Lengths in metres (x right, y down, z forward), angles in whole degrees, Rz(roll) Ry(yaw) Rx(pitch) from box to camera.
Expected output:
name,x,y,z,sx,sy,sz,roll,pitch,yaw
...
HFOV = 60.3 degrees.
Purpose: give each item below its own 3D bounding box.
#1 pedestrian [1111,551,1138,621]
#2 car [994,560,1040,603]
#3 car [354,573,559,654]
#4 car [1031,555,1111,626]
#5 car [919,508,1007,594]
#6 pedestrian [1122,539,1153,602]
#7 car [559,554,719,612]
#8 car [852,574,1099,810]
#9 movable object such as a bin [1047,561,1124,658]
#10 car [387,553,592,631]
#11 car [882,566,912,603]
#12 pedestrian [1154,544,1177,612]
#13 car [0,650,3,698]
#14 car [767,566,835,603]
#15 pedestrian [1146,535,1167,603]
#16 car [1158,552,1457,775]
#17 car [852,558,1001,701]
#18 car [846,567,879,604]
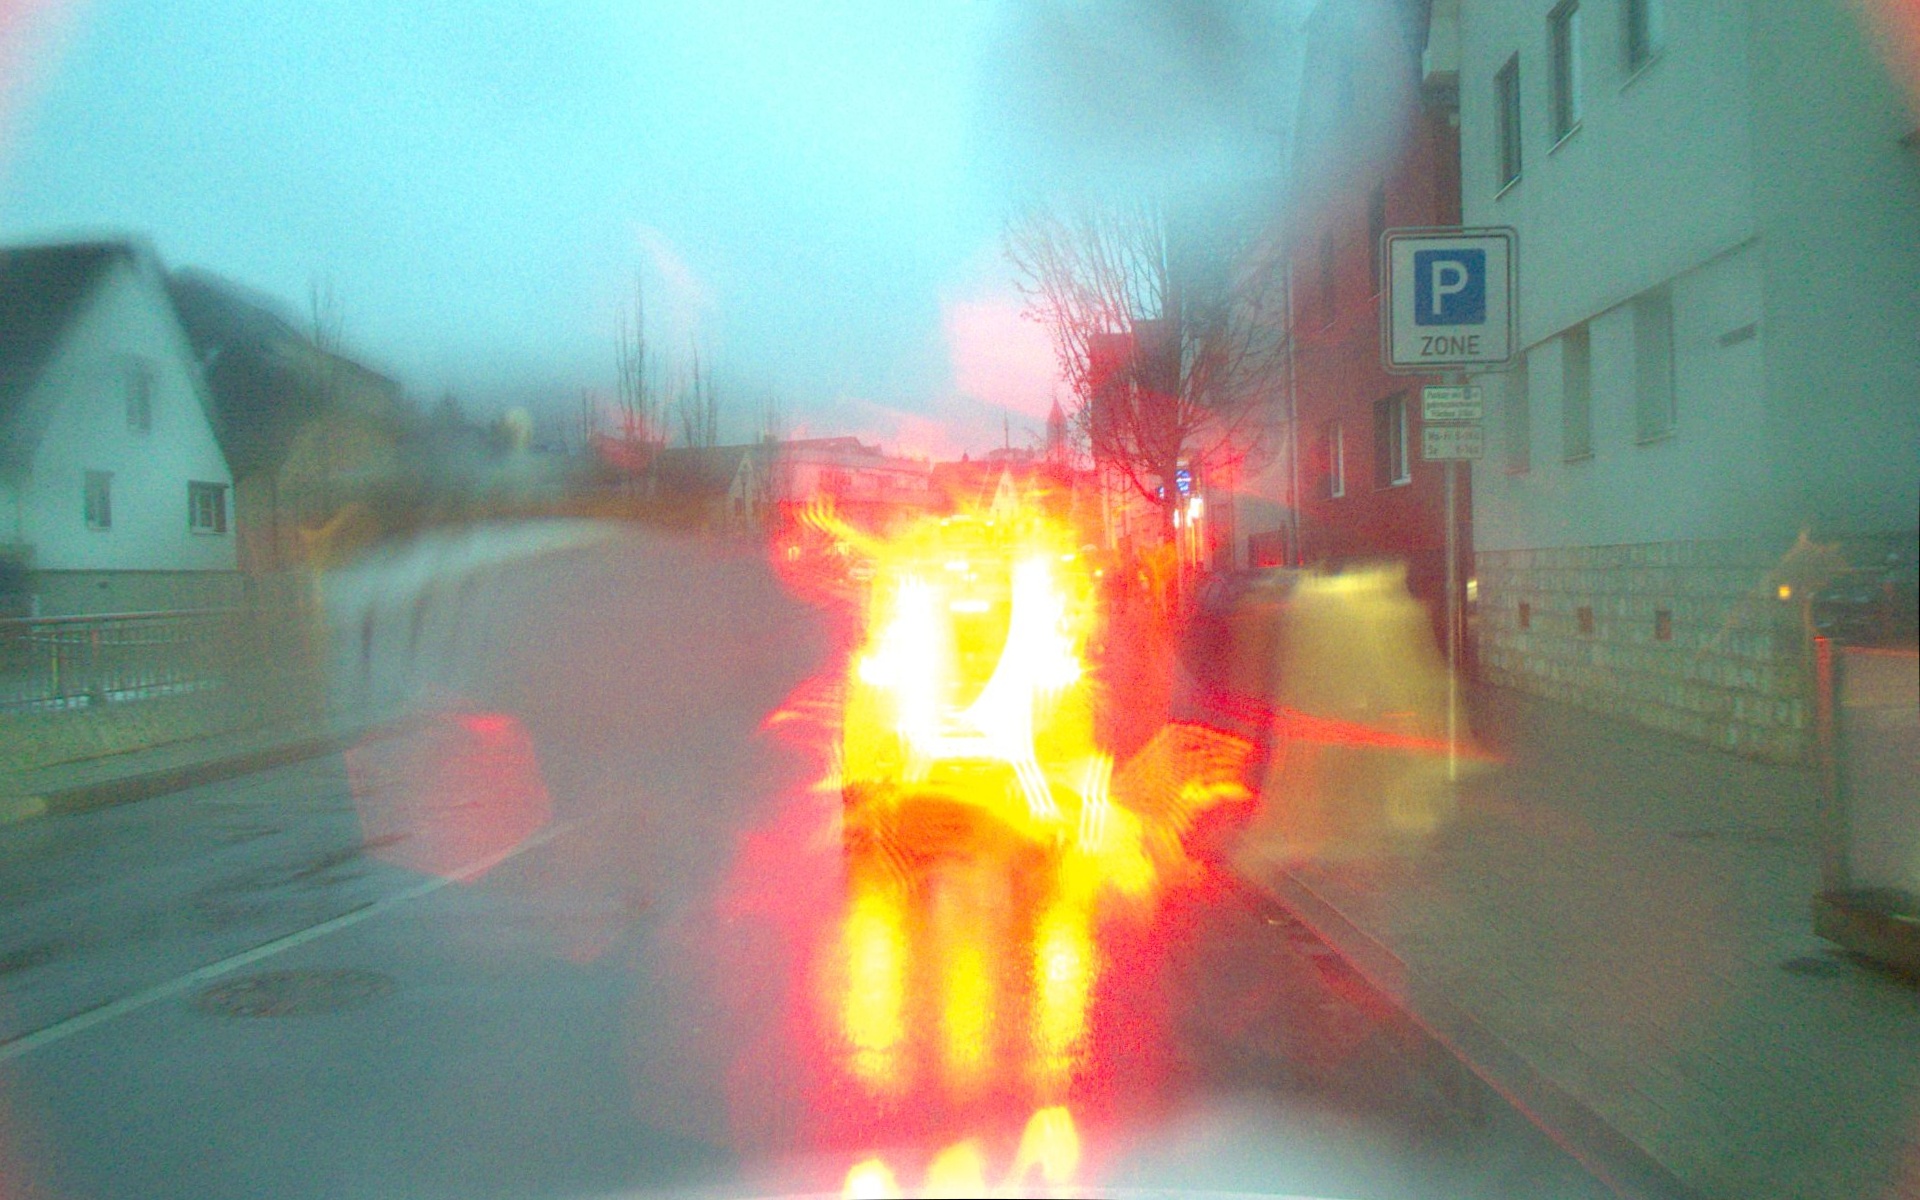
name,x,y,z,sx,sy,sz,roll,pitch,yaw
pedestrian,4.156,-0.362,41.820,0.561,1.729,0.653,-3,0,1
car,2.580,-0.842,75.188,1.956,1.897,4.083,-1,1,0
car,-9.570,0.231,31.617,3.374,1.396,1.601,-2,1,-1
car,2.857,-0.271,43.267,1.700,1.721,4.386,-2,1,-1
car,0.032,-1.851,65.164,3.127,3.085,6.300,0,-1,-3
pedestrian,5.059,-0.859,47.193,0.697,1.744,1.035,-2,2,13
car,-9.791,-0.512,50.734,4.533,1.696,1.999,-1,0,-3
car,0.096,0.549,11.762,1.531,1.437,3.018,0,1,0
movable object such as a bin,2.028,0.133,26.911,1.106,1.445,1.418,-4,2,2
car,-9.742,-0.160,34.412,3.713,1.549,1.716,-1,0,6
car,-4.024,-0.982,105.919,1.881,2.254,3.973,0,-1,-2
pedestrian,5.144,-0.538,41.341,0.517,1.682,0.954,0,-1,10
car,-14.357,0.698,20.801,1.765,1.508,4.573,-3,1,2
car,-10.096,-0.947,104.666,4.311,2.204,1.986,-1,-2,44
pedestrian,5.376,-0.849,45.208,0.517,1.831,0.865,0,1,10
car,2.748,0.396,13.986,1.692,1.489,4.200,-4,2,2
car,-0.396,0.303,21.000,1.730,1.656,3.586,0,1,0
car,-5.761,-0.845,98.027,1.881,2.063,3.973,0,-1,-2
